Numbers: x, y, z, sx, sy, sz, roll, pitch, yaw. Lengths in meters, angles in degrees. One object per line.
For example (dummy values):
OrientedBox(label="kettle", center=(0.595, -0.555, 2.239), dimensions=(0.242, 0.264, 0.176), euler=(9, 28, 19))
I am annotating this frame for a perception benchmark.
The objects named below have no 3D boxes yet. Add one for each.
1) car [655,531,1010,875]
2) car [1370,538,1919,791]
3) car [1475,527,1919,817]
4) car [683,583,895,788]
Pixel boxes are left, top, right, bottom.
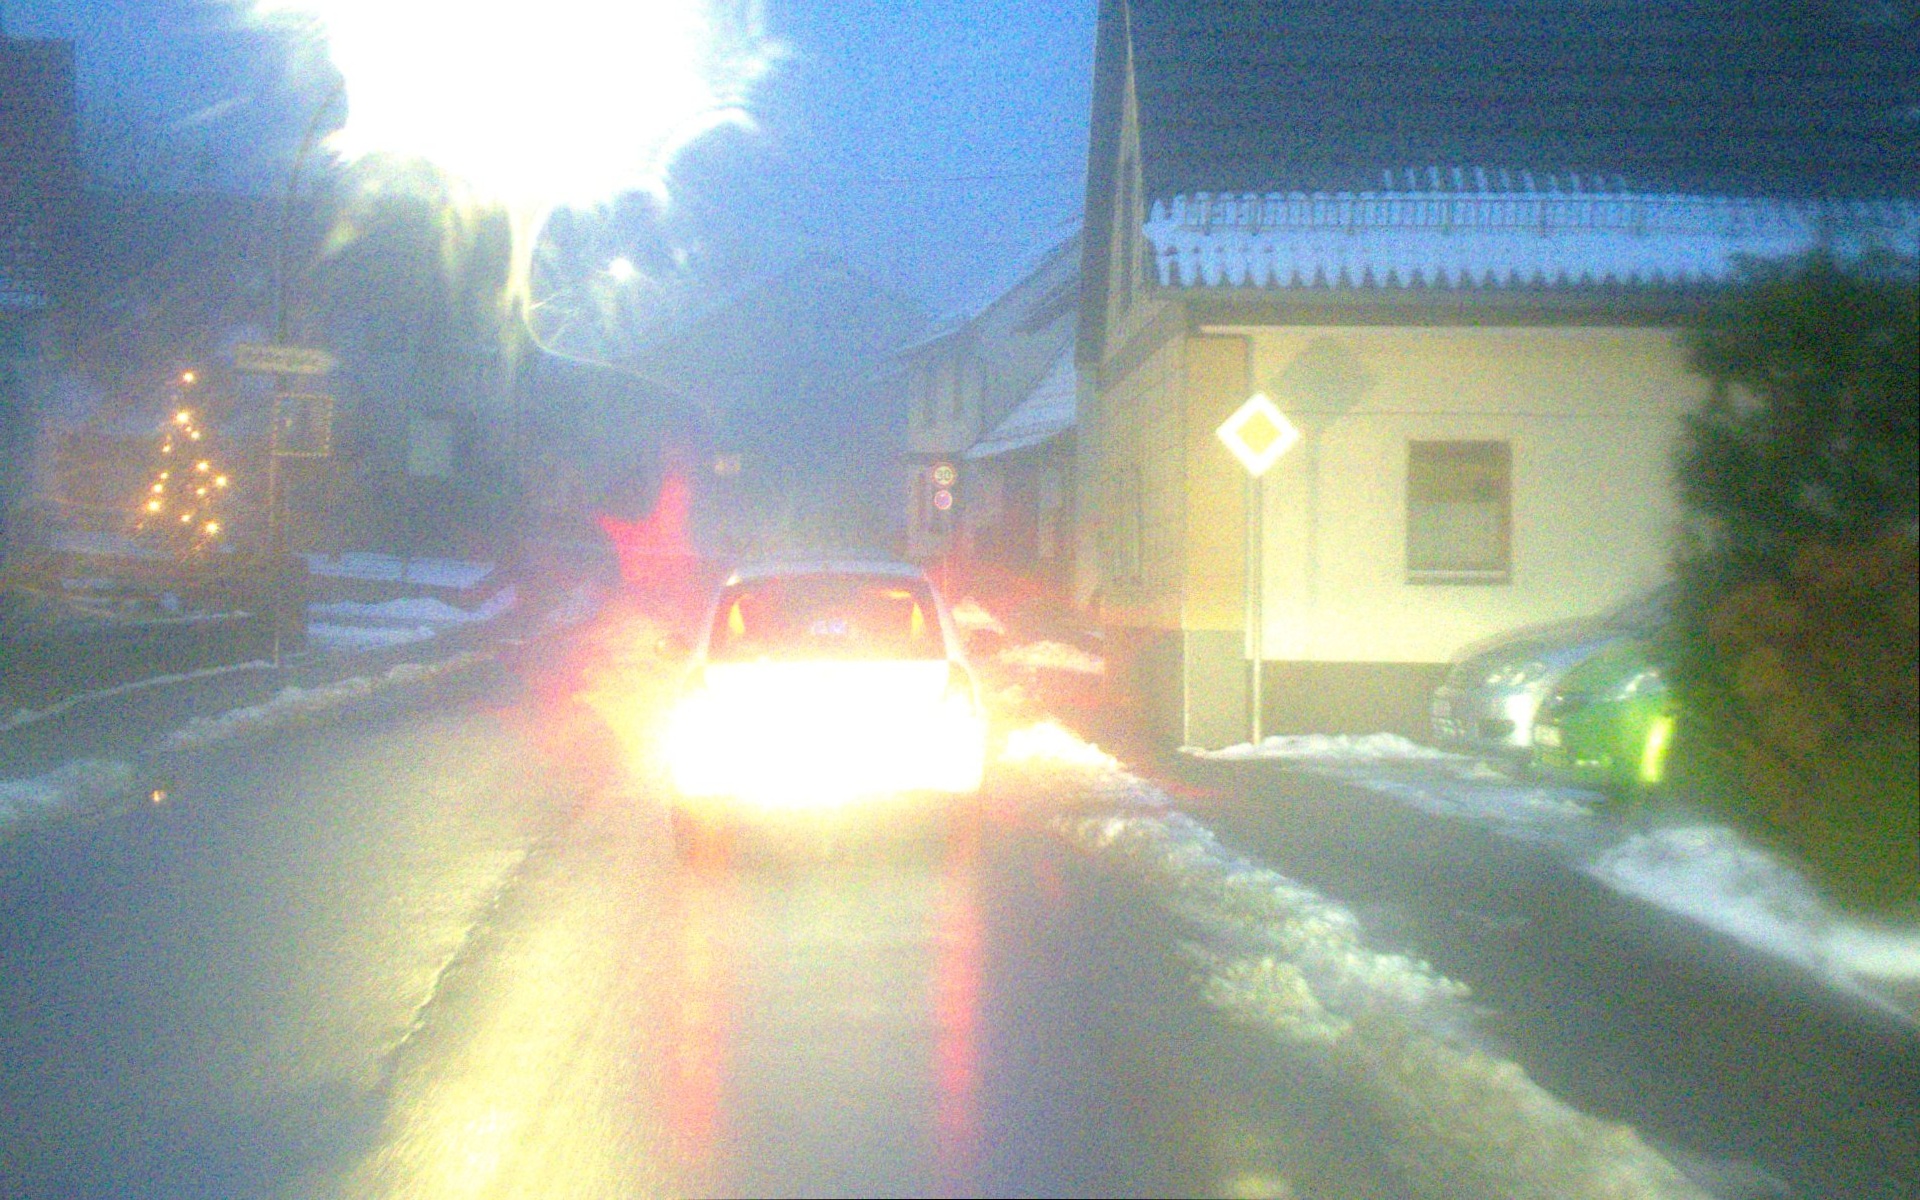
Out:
OrientedBox(label="car", center=(-0.726, 0.493, 18.341), dimensions=(1.645, 1.590, 3.700), euler=(2, 0, -4))
OrientedBox(label="car", center=(4.881, 0.397, 21.784), dimensions=(4.169, 1.428, 1.902), euler=(2, 1, -6))
OrientedBox(label="car", center=(4.897, 0.361, 18.818), dimensions=(3.740, 1.492, 1.822), euler=(0, 1, -7))
OrientedBox(label="car", center=(-1.464, 0.688, 29.516), dimensions=(1.645, 1.590, 3.700), euler=(2, 0, -3))
